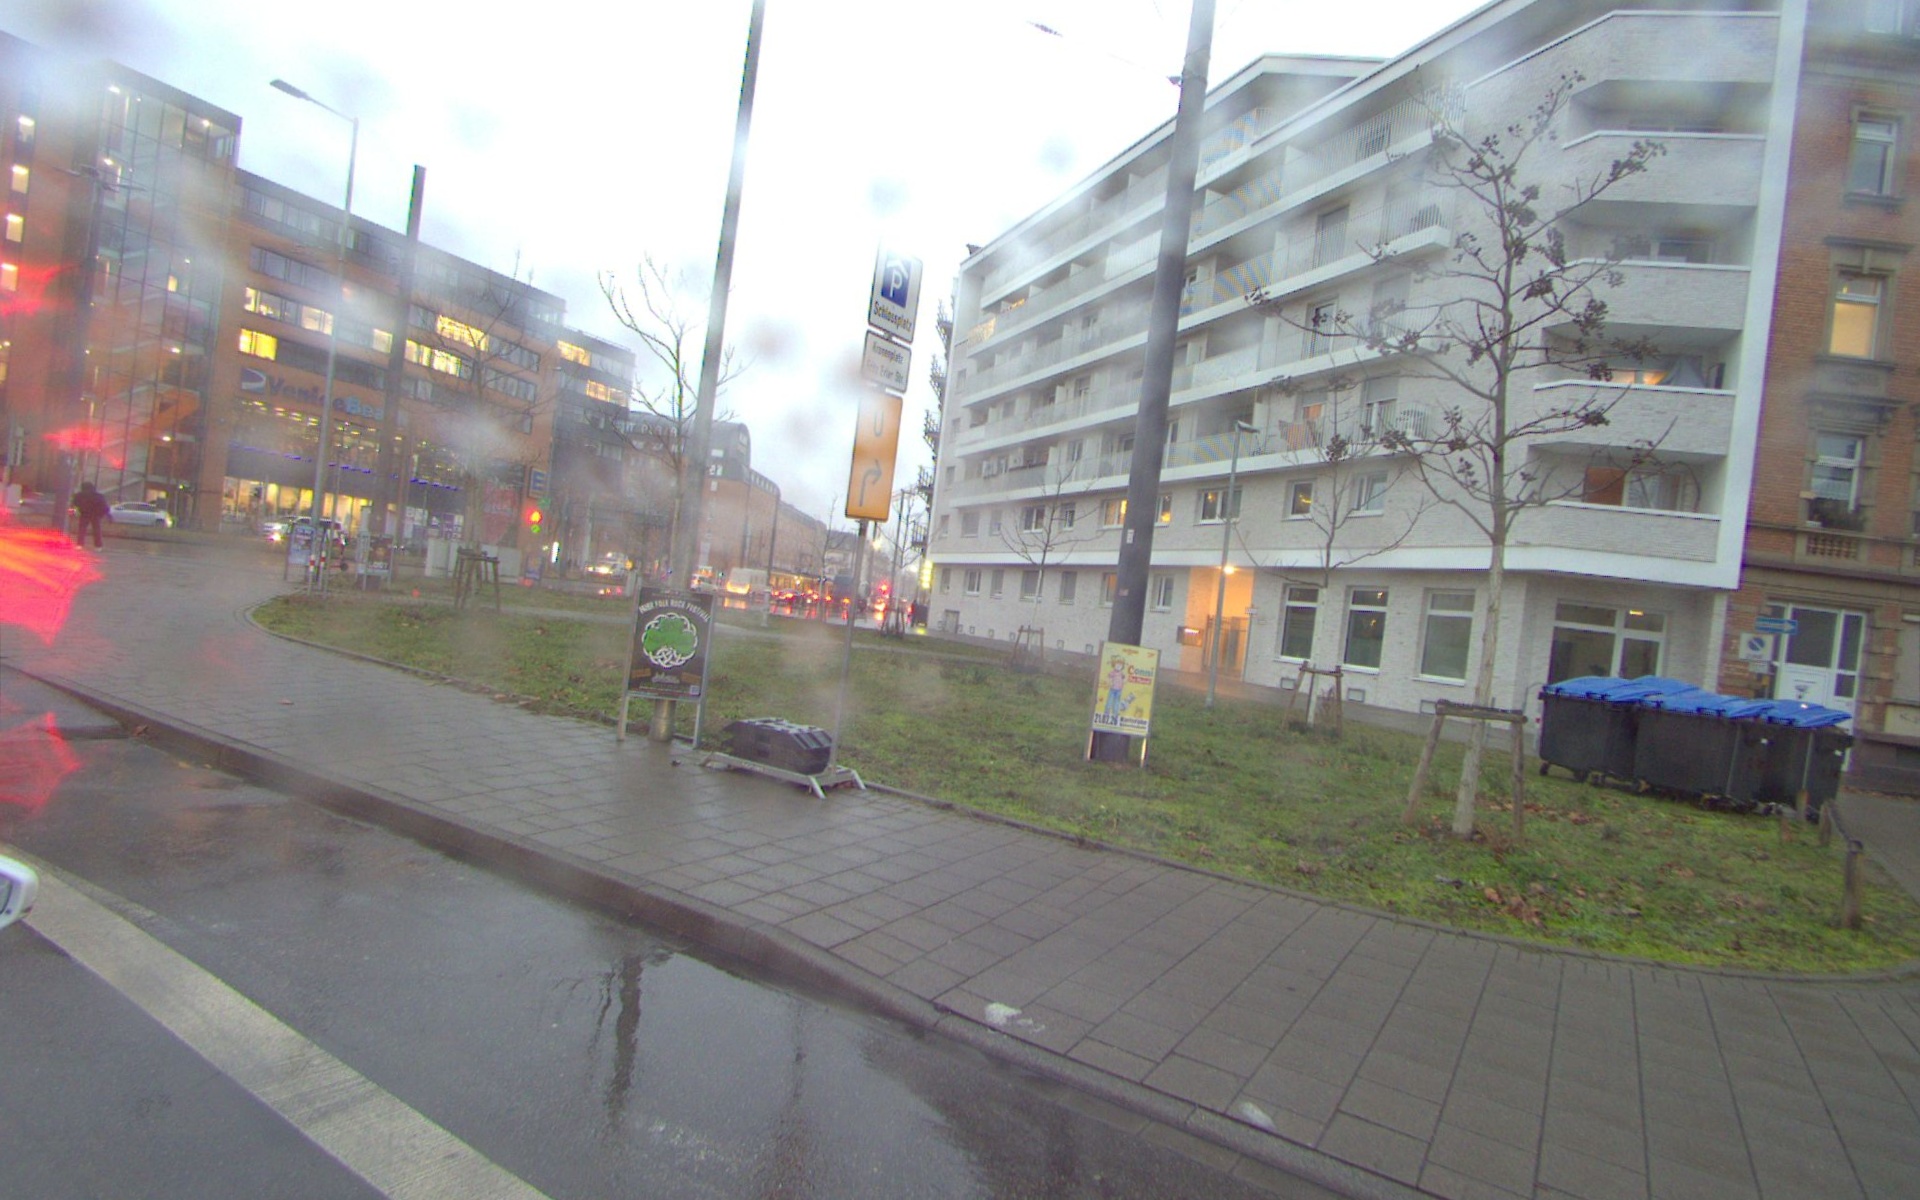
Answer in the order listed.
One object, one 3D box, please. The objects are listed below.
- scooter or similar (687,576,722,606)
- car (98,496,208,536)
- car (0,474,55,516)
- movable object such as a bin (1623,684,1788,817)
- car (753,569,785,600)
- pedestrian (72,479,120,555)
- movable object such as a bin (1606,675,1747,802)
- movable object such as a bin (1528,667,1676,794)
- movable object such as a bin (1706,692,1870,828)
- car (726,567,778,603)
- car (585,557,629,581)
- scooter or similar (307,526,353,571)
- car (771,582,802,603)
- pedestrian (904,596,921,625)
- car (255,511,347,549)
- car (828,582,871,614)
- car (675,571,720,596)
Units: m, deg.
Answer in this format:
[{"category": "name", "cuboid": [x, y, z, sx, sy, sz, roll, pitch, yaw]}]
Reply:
[{"category": "scooter or similar", "cuboid": [-12.360, -0.444, 48.738, 0.658, 1.241, 1.556, 7, -2, 26]}, {"category": "car", "cuboid": [-44.872, -4.657, 56.014, 1.833, 1.504, 4.338, 7, -1, 25]}, {"category": "car", "cuboid": [-52.088, -5.854, 54.277, 1.871, 1.894, 4.370, 7, 0, 26]}, {"category": "movable object such as a bin", "cuboid": [9.600, 1.924, 12.998, 1.038, 1.450, 1.220, 7, 0, -19]}, {"category": "car", "cuboid": [-20.251, -1.641, 106.897, 2.321, 2.861, 6.355, 7, -1, -5]}, {"category": "pedestrian", "cuboid": [-23.225, -2.215, 27.042, 0.768, 1.901, 0.629, 6, 1, -36]}, {"category": "movable object such as a bin", "cuboid": [10.340, 1.979, 14.557, 1.038, 1.595, 1.135, 7, 0, -19]}, {"category": "movable object such as a bin", "cuboid": [9.030, 1.817, 14.204, 1.038, 1.529, 1.247, 7, 0, -19]}, {"category": "movable object such as a bin", "cuboid": [10.728, 2.051, 13.072, 1.038, 1.503, 1.135, 7, 0, -19]}, {"category": "car", "cuboid": [-17.420, -1.218, 84.718, 1.962, 2.456, 5.978, 7, -1, 10]}, {"category": "car", "cuboid": [-33.181, -2.868, 94.706, 1.893, 1.740, 4.613, 7, -1, 7]}, {"category": "scooter or similar", "cuboid": [-18.679, -1.511, 29.846, 0.327, 1.221, 1.309, 7, 0, 4]}, {"category": "car", "cuboid": [-15.740, -0.638, 91.351, 1.494, 1.538, 3.474, 7, -1, 11]}, {"category": "pedestrian", "cuboid": [-2.869, 0.659, 60.638, 0.624, 1.652, 0.718, 7, 1, -20]}, {"category": "car", "cuboid": [-41.779, -4.389, 63.921, 1.753, 1.698, 4.652, 7, -1, 20]}, {"category": "car", "cuboid": [-11.778, -0.182, 107.740, 2.317, 2.860, 6.364, 7, -1, 12]}, {"category": "car", "cuboid": [-19.865, -1.216, 76.250, 1.613, 1.514, 3.686, 7, 0, 14]}]
